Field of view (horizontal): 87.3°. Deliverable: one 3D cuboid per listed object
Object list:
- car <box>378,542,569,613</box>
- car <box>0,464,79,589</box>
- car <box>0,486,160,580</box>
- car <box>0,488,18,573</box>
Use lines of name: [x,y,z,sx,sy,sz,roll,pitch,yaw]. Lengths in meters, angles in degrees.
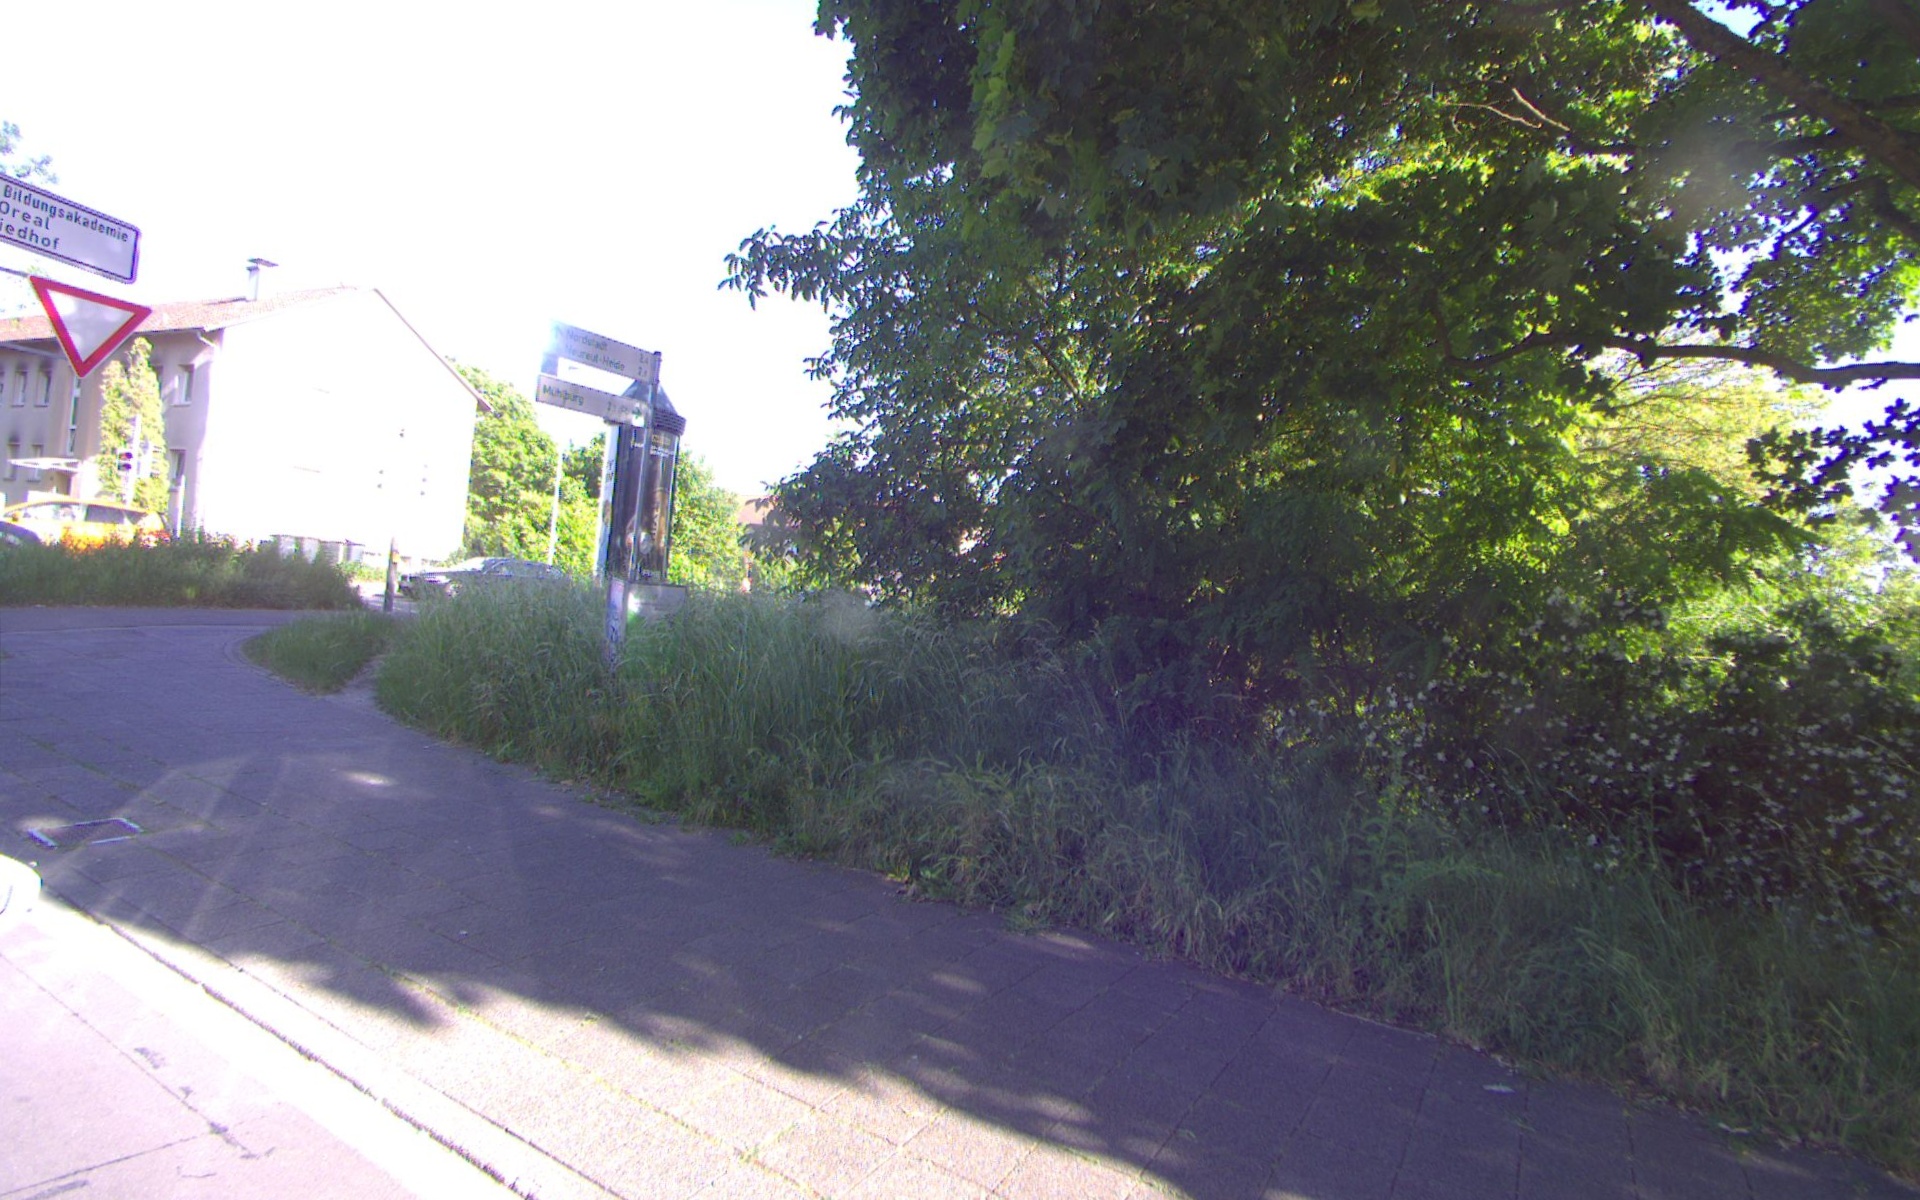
car: [-13.742,-0.569,28.769,1.963,1.447,4.743,7,-1,21]
car: [-16.553,-1.372,15.241,1.827,1.910,4.354,7,0,27]
car: [-20.062,-1.530,21.897,3.970,1.601,1.739,9,-2,-38]
car: [-19.929,-1.591,17.962,1.727,1.581,4.117,6,-2,29]
